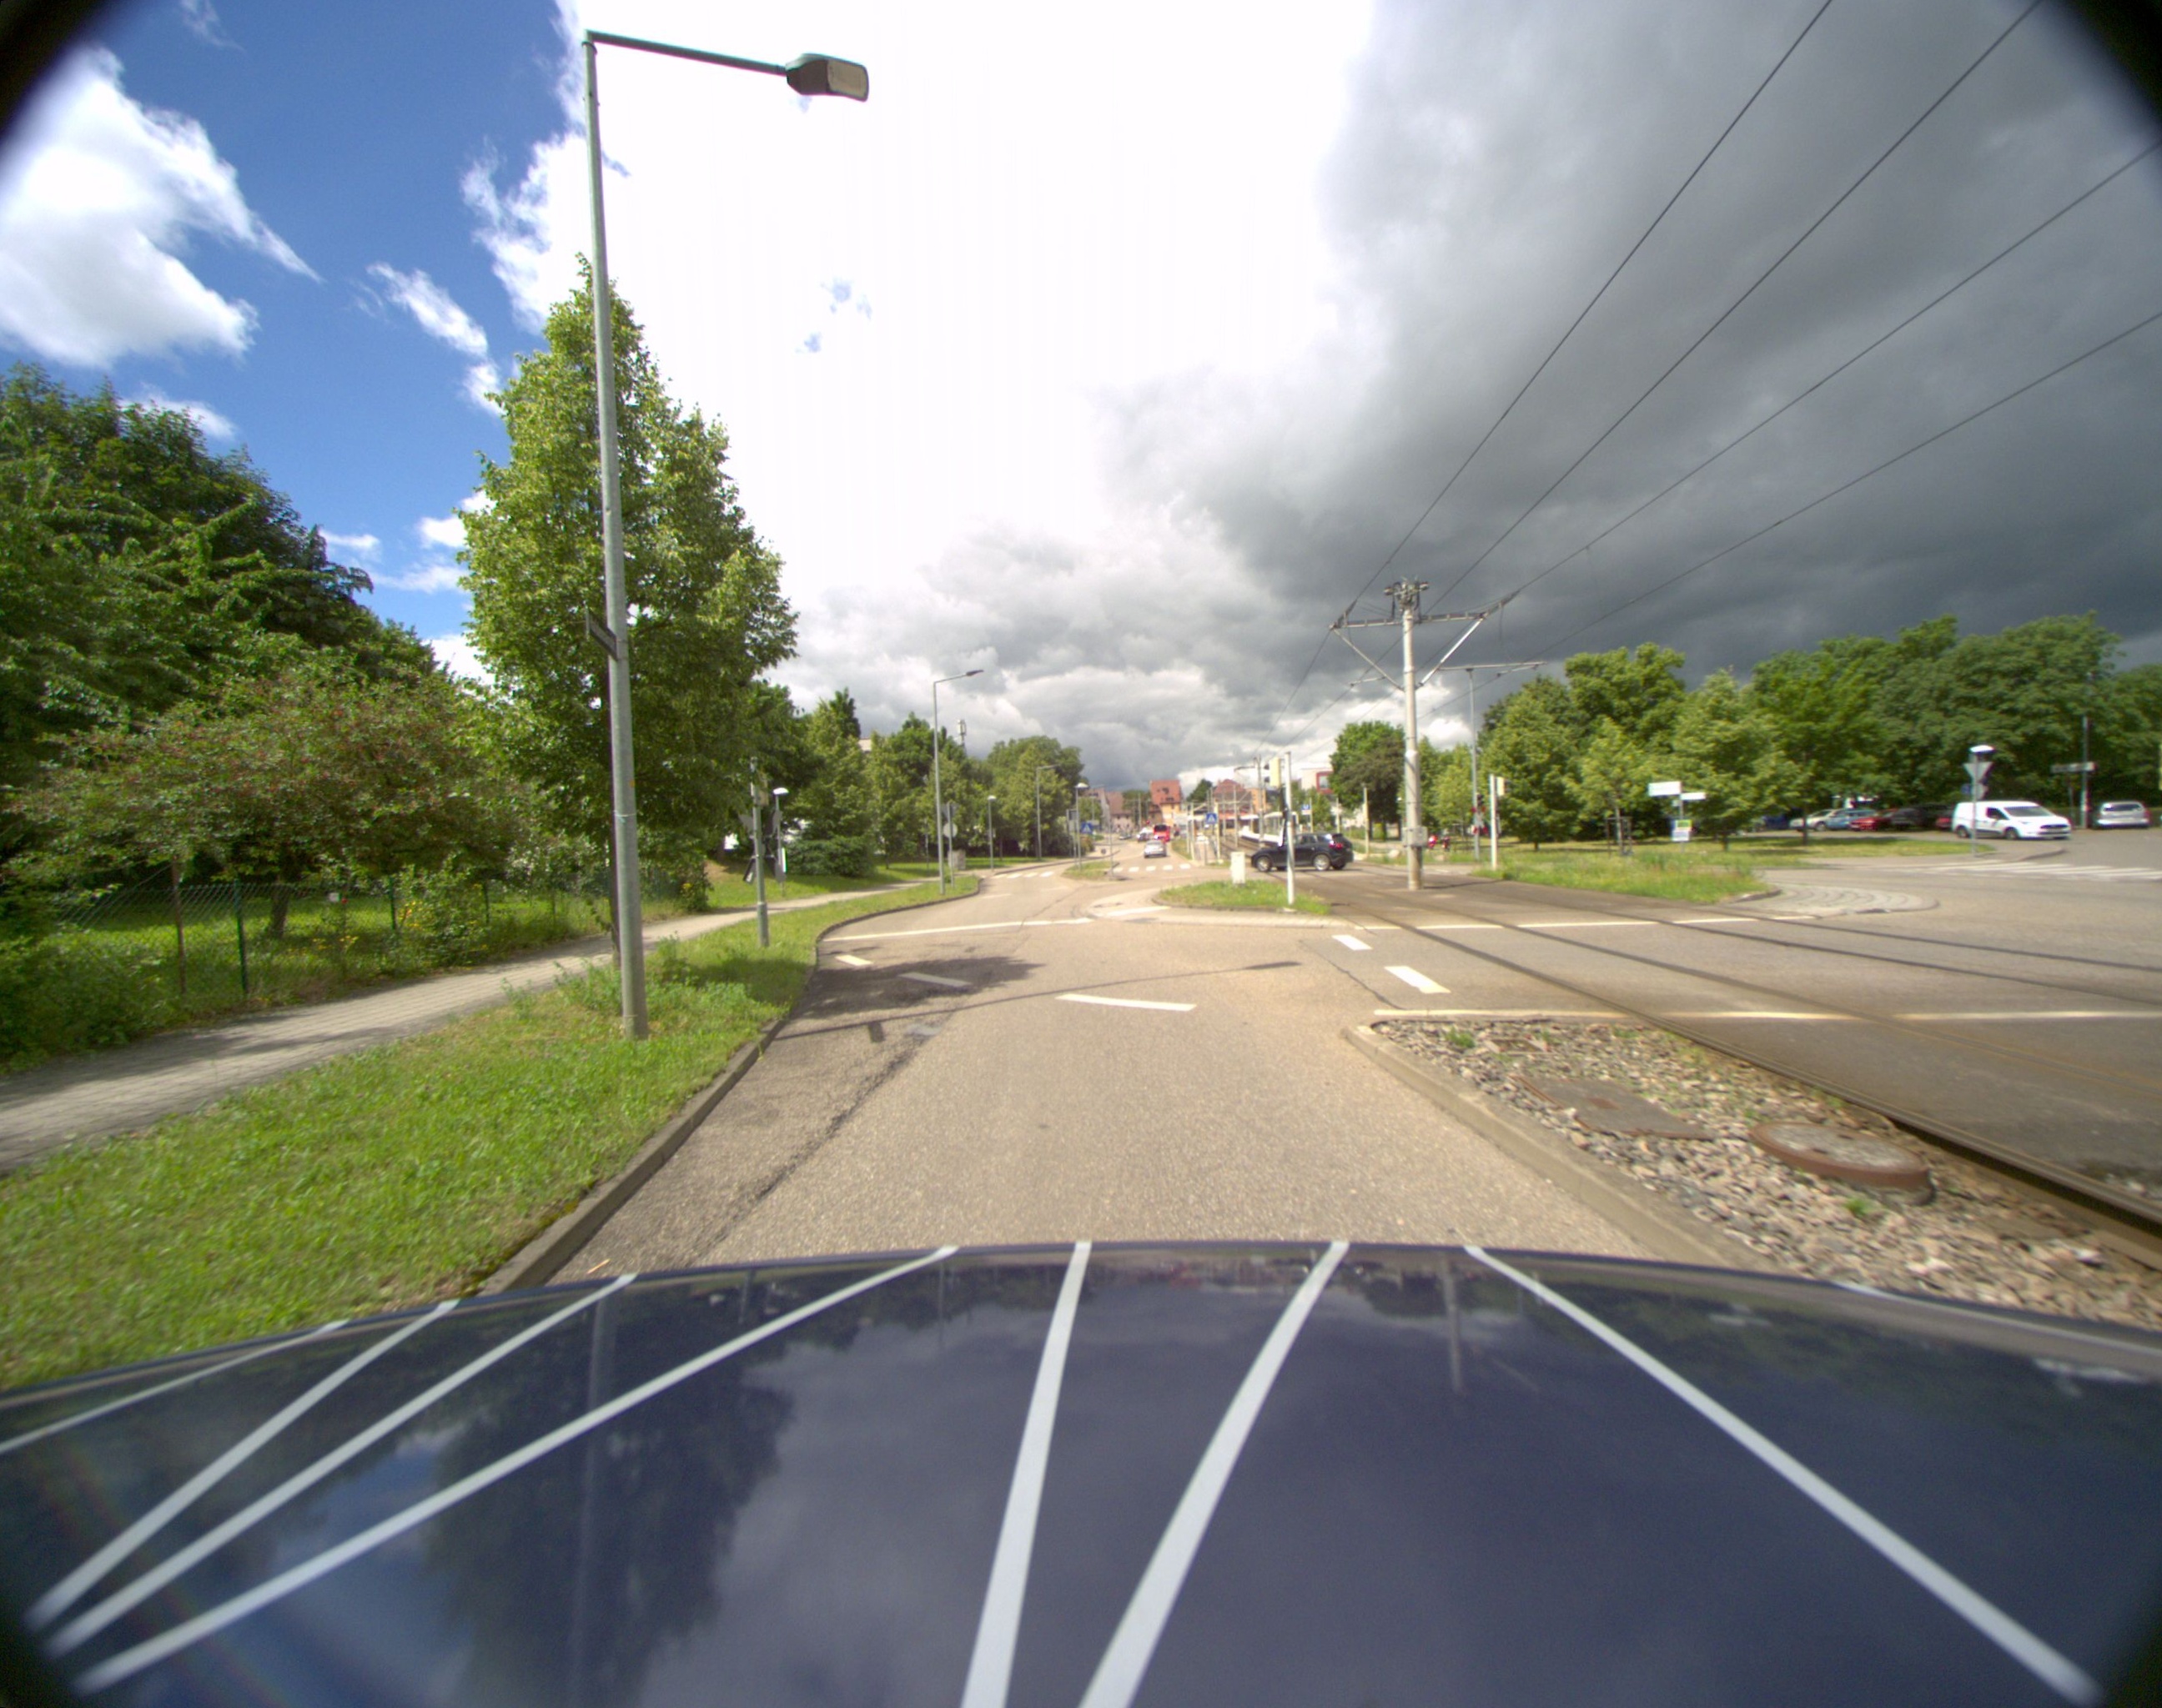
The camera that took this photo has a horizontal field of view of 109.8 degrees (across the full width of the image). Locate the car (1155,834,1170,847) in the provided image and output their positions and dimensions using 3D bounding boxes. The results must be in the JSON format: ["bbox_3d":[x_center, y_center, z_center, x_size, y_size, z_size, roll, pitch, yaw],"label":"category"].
[{"bbox_3d":[10.794,-1.772,100.013,1.737,1.501,3.516,-3,1,8],"label":"car"}]

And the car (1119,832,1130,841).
[{"bbox_3d":[9.539,-3.767,166.893,1.997,1.849,4.001,-2,1,7],"label":"car"}]

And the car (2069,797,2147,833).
[{"bbox_3d":[53.481,-2.035,39.627,4.007,1.674,1.994,-3,1,-43],"label":"car"}]

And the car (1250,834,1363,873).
[{"bbox_3d":[9.807,-0.016,33.219,4.313,1.576,1.863,0,1,42],"label":"car"}]

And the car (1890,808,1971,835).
[{"bbox_3d":[52.837,-2.022,47.283,3.619,1.581,1.627,-1,1,-8],"label":"car"}]

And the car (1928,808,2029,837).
[{"bbox_3d":[52.799,-1.849,44.748,3.613,1.581,1.630,-1,1,11],"label":"car"}]

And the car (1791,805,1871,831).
[{"bbox_3d":[52.827,-2.484,53.593,1.593,1.631,3.902,-4,1,-4],"label":"car"}]

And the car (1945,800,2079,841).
[{"bbox_3d":[43.867,-1.570,35.954,1.739,1.680,4.354,-3,1,14],"label":"car"}]

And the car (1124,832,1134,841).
[{"bbox_3d":[10.841,-3.956,171.900,1.997,1.849,4.001,-2,1,7],"label":"car"}]

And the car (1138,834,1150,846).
[{"bbox_3d":[11.393,-2.535,136.914,1.849,1.916,3.779,-2,1,7],"label":"car"}]

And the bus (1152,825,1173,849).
[{"bbox_3d":[13.991,-2.912,129.461,2.921,3.864,10.383,-2,1,9],"label":"bus"}]

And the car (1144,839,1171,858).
[{"bbox_3d":[6.534,-0.486,64.272,1.938,1.374,4.663,-3,1,9],"label":"car"}]
